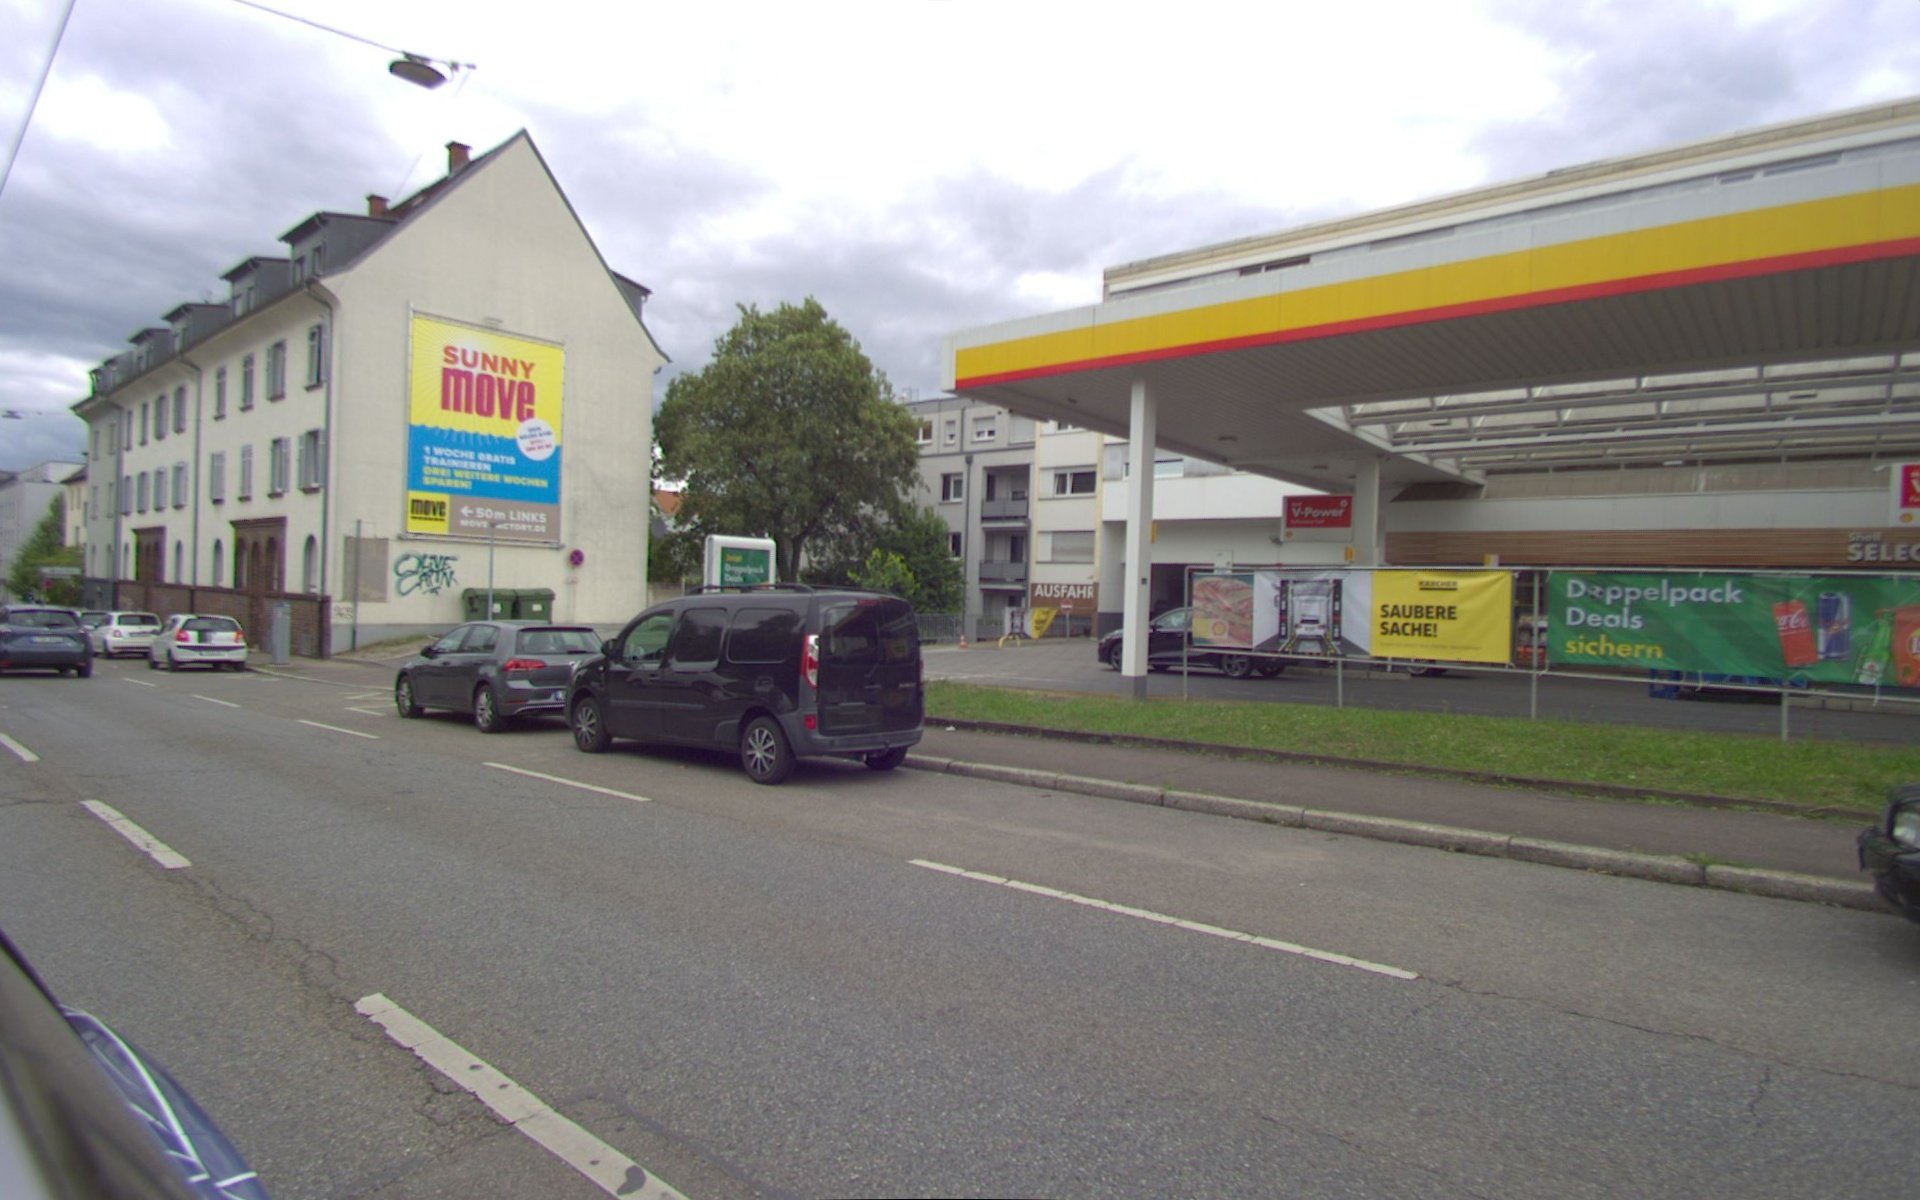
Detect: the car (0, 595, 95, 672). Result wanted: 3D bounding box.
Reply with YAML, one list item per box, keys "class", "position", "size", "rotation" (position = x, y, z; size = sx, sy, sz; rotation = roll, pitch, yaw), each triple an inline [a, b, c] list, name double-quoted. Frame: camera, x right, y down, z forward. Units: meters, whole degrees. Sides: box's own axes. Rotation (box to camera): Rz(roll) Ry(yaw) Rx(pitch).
- class: "car"
  position: [-20.627, 0.722, 22.386]
  size: [3.716, 1.567, 1.665]
  rotation: [0, -2, 40]

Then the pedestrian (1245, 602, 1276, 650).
- class: "pedestrian"
  position: [9.599, 0.824, 32.333]
  size: [0.665, 1.528, 0.789]
  rotation: [-1, -1, 43]

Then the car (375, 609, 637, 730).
- class: "car"
  position: [-6.546, 0.890, 14.387]
  size: [4.216, 1.461, 1.772]
  rotation: [0, -3, 41]

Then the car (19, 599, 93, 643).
- class: "car"
  position: [-35.071, 0.804, 39.221]
  size: [4.502, 1.611, 1.708]
  rotation: [-1, -2, 43]

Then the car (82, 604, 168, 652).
- class: "car"
  position: [-27.001, 0.893, 32.688]
  size: [3.602, 1.486, 1.531]
  rotation: [0, -2, 41]

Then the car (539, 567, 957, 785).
- class: "car"
  position: [-2.429, 0.690, 10.841]
  size: [4.698, 1.849, 1.833]
  rotation: [0, -3, 40]

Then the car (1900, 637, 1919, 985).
- class: "car"
  position: [6.294, 0.900, 3.276]
  size: [4.744, 1.442, 1.778]
  rotation: [0, -3, 43]

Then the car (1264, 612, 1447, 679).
- class: "car"
  position: [9.249, 0.996, 23.778]
  size: [3.634, 1.431, 1.779]
  rotation: [0, -1, 41]

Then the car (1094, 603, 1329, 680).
- class: "car"
  position: [5.115, 0.777, 20.946]
  size: [4.415, 1.431, 1.779]
  rotation: [0, -1, 41]

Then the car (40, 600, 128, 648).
- class: "car"
  position: [-31.190, 0.851, 35.993]
  size: [4.079, 1.570, 1.709]
  rotation: [0, -4, 41]

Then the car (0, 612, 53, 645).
- class: "car"
  position: [-43.222, 1.312, 46.540]
  size: [4.189, 1.440, 1.709]
  rotation: [-1, -2, 41]

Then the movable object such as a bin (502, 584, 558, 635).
- class: "movable object such as a bin"
  position: [-13.778, 0.310, 32.411]
  size: [1.104, 1.550, 1.251]
  rotation: [-1, -3, 41]

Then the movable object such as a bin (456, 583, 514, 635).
- class: "movable object such as a bin"
  position: [-14.720, 0.295, 31.374]
  size: [1.104, 1.550, 1.251]
  rotation: [-1, -3, 41]

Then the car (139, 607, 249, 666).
- class: "car"
  position: [-20.098, 0.921, 26.511]
  size: [3.664, 1.436, 1.602]
  rotation: [-1, -2, 42]

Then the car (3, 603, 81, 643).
- class: "car"
  position: [-38.924, 0.977, 42.866]
  size: [4.640, 1.633, 1.826]
  rotation: [-1, -2, 40]

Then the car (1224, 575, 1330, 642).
- class: "car"
  position: [10.053, 0.269, 31.928]
  size: [1.835, 1.978, 3.854]
  rotation: [0, 0, 41]

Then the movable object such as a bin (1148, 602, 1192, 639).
- class: "movable object such as a bin"
  position: [7.959, 0.757, 38.346]
  size: [1.242, 1.383, 1.139]
  rotation: [0, 0, 39]
